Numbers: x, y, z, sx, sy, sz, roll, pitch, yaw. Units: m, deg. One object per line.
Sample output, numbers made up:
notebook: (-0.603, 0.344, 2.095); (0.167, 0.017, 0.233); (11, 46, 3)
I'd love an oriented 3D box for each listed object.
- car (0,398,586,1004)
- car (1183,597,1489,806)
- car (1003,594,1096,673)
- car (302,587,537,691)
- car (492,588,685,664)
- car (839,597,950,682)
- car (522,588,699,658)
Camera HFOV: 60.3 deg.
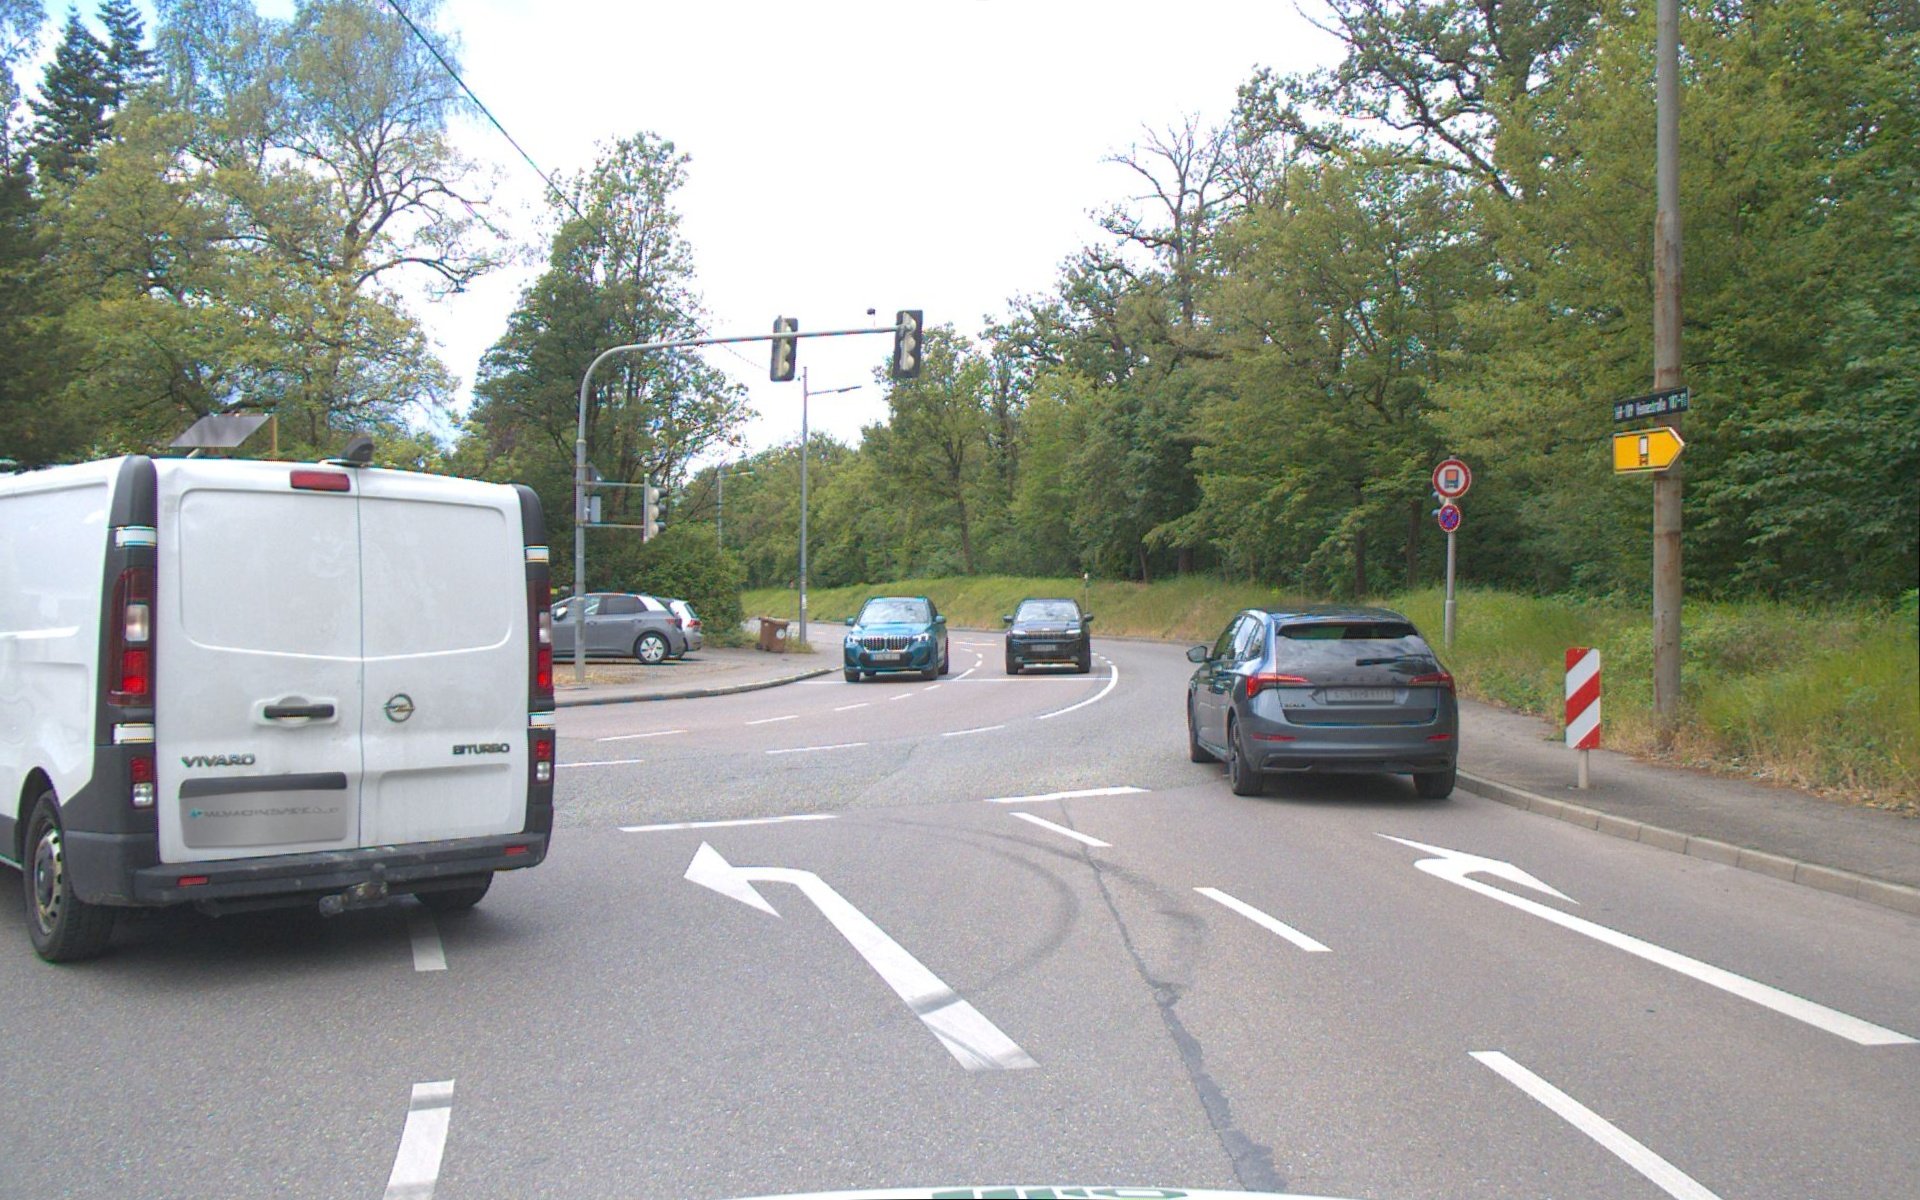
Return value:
car: (-3.820, 0.319, 8.035); (1.907, 2.089, 4.541); (0, 1, -43)
car: (2.993, 0.731, 13.998); (1.755, 1.476, 4.001); (1, 0, 1)
car: (1.869, 0.674, 35.680); (1.778, 1.533, 4.000); (-1, 0, 0)
car: (-8.621, 0.601, 26.667); (1.663, 1.474, 3.543); (3, 1, 22)
car: (-8.142, 0.562, 36.413); (4.015, 1.580, 1.849); (1, 1, -13)
car: (-1.262, 0.747, 33.521); (1.818, 1.533, 4.002); (-1, 0, 3)
car: (-8.308, 0.534, 39.376); (4.015, 1.580, 1.849); (1, 1, -13)
